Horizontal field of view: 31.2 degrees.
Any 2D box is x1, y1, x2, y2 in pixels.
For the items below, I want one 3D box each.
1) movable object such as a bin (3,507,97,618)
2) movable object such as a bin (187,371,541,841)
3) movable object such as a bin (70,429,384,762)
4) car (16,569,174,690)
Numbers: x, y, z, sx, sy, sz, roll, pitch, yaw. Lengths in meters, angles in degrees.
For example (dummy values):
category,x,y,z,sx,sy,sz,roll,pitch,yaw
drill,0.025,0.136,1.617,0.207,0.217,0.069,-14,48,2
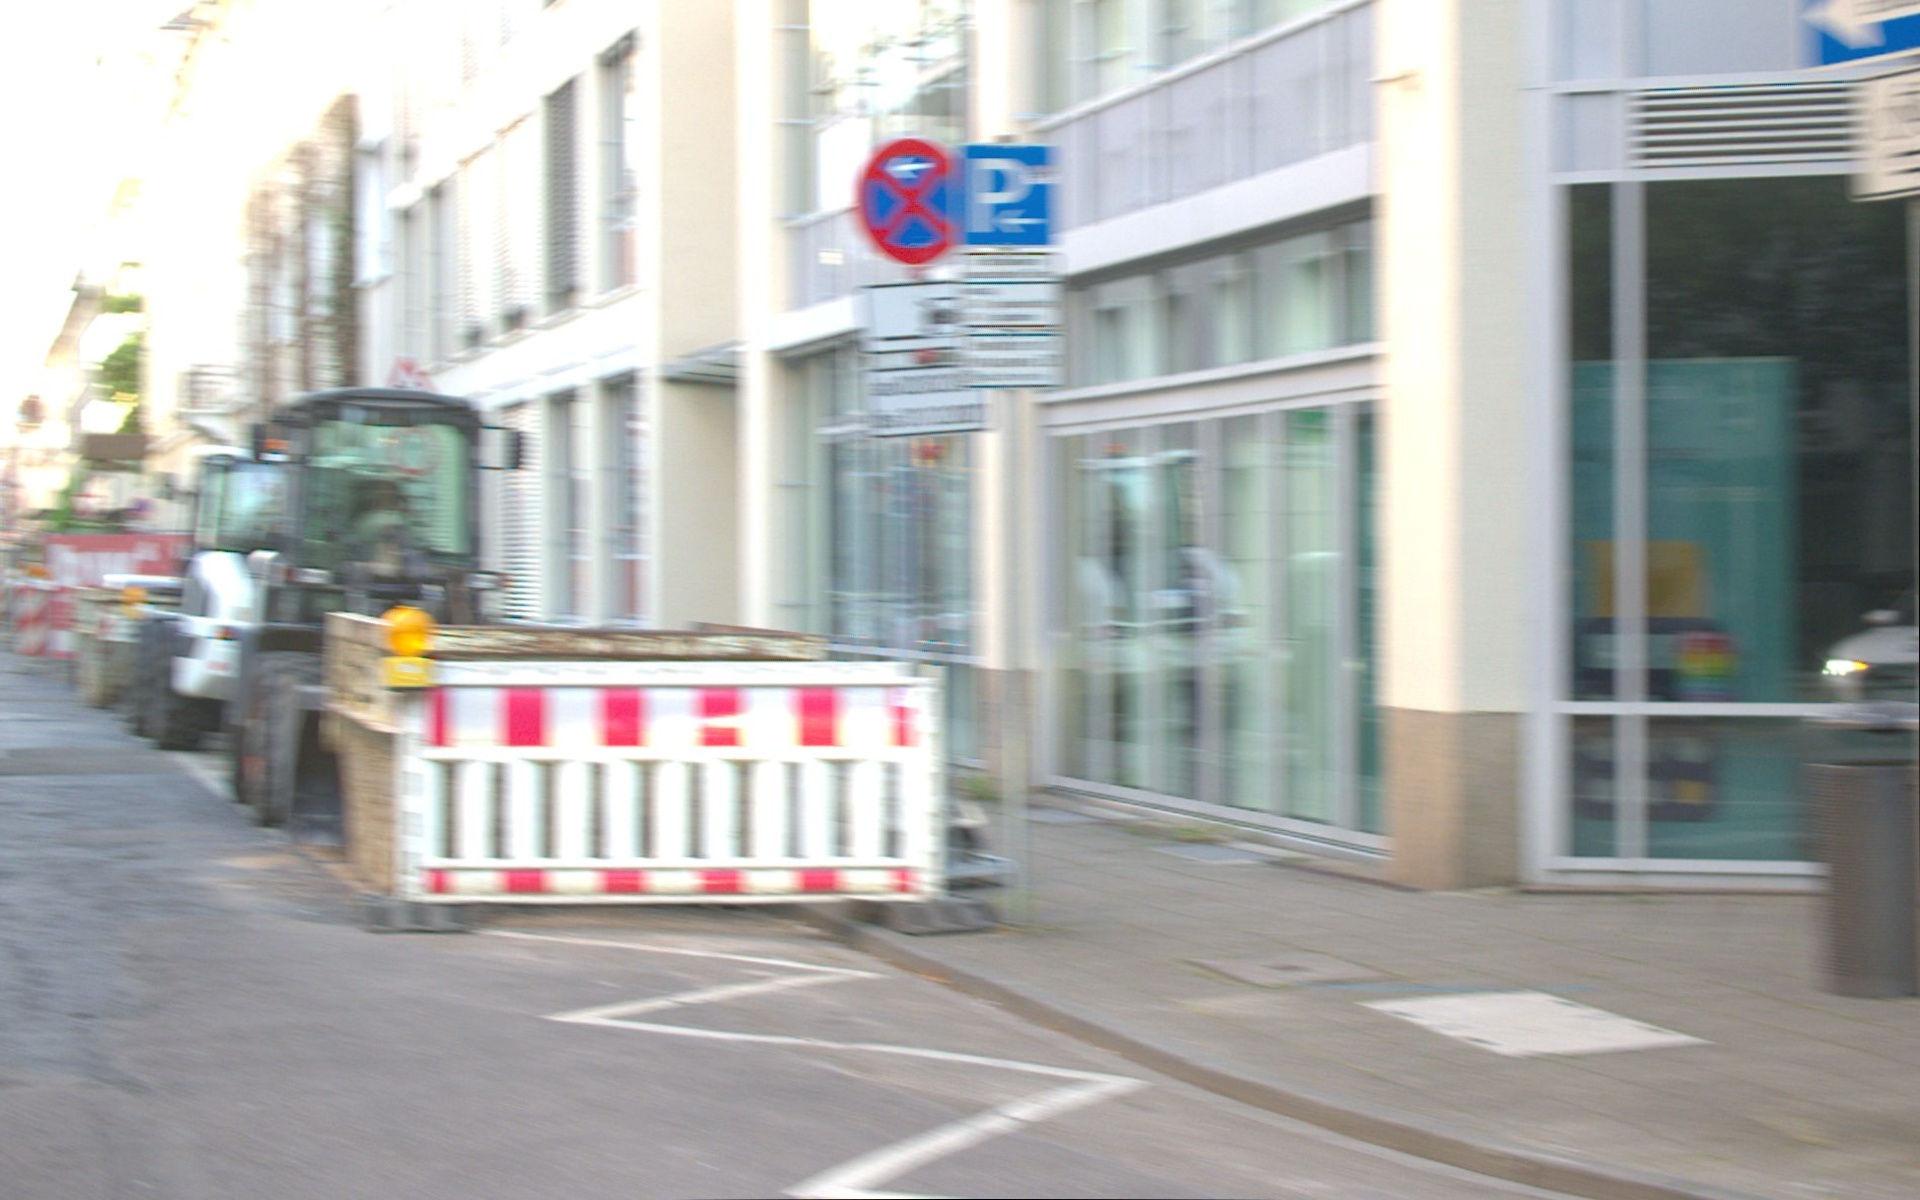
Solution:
category,x,y,z,sx,sy,sz,roll,pitch,yaw
movable object such as a bin,-26.717,-1.132,100.846,2.469,3.120,4.299,1,1,-17
movable object such as a bin,-3.798,0.002,21.400,1.796,2.625,4.112,0,1,-15
movable object such as a bin,-6.439,-0.071,29.699,2.165,2.587,5.545,0,1,-17
car,-10.890,0.336,43.095,1.693,1.401,4.481,1,1,-17
